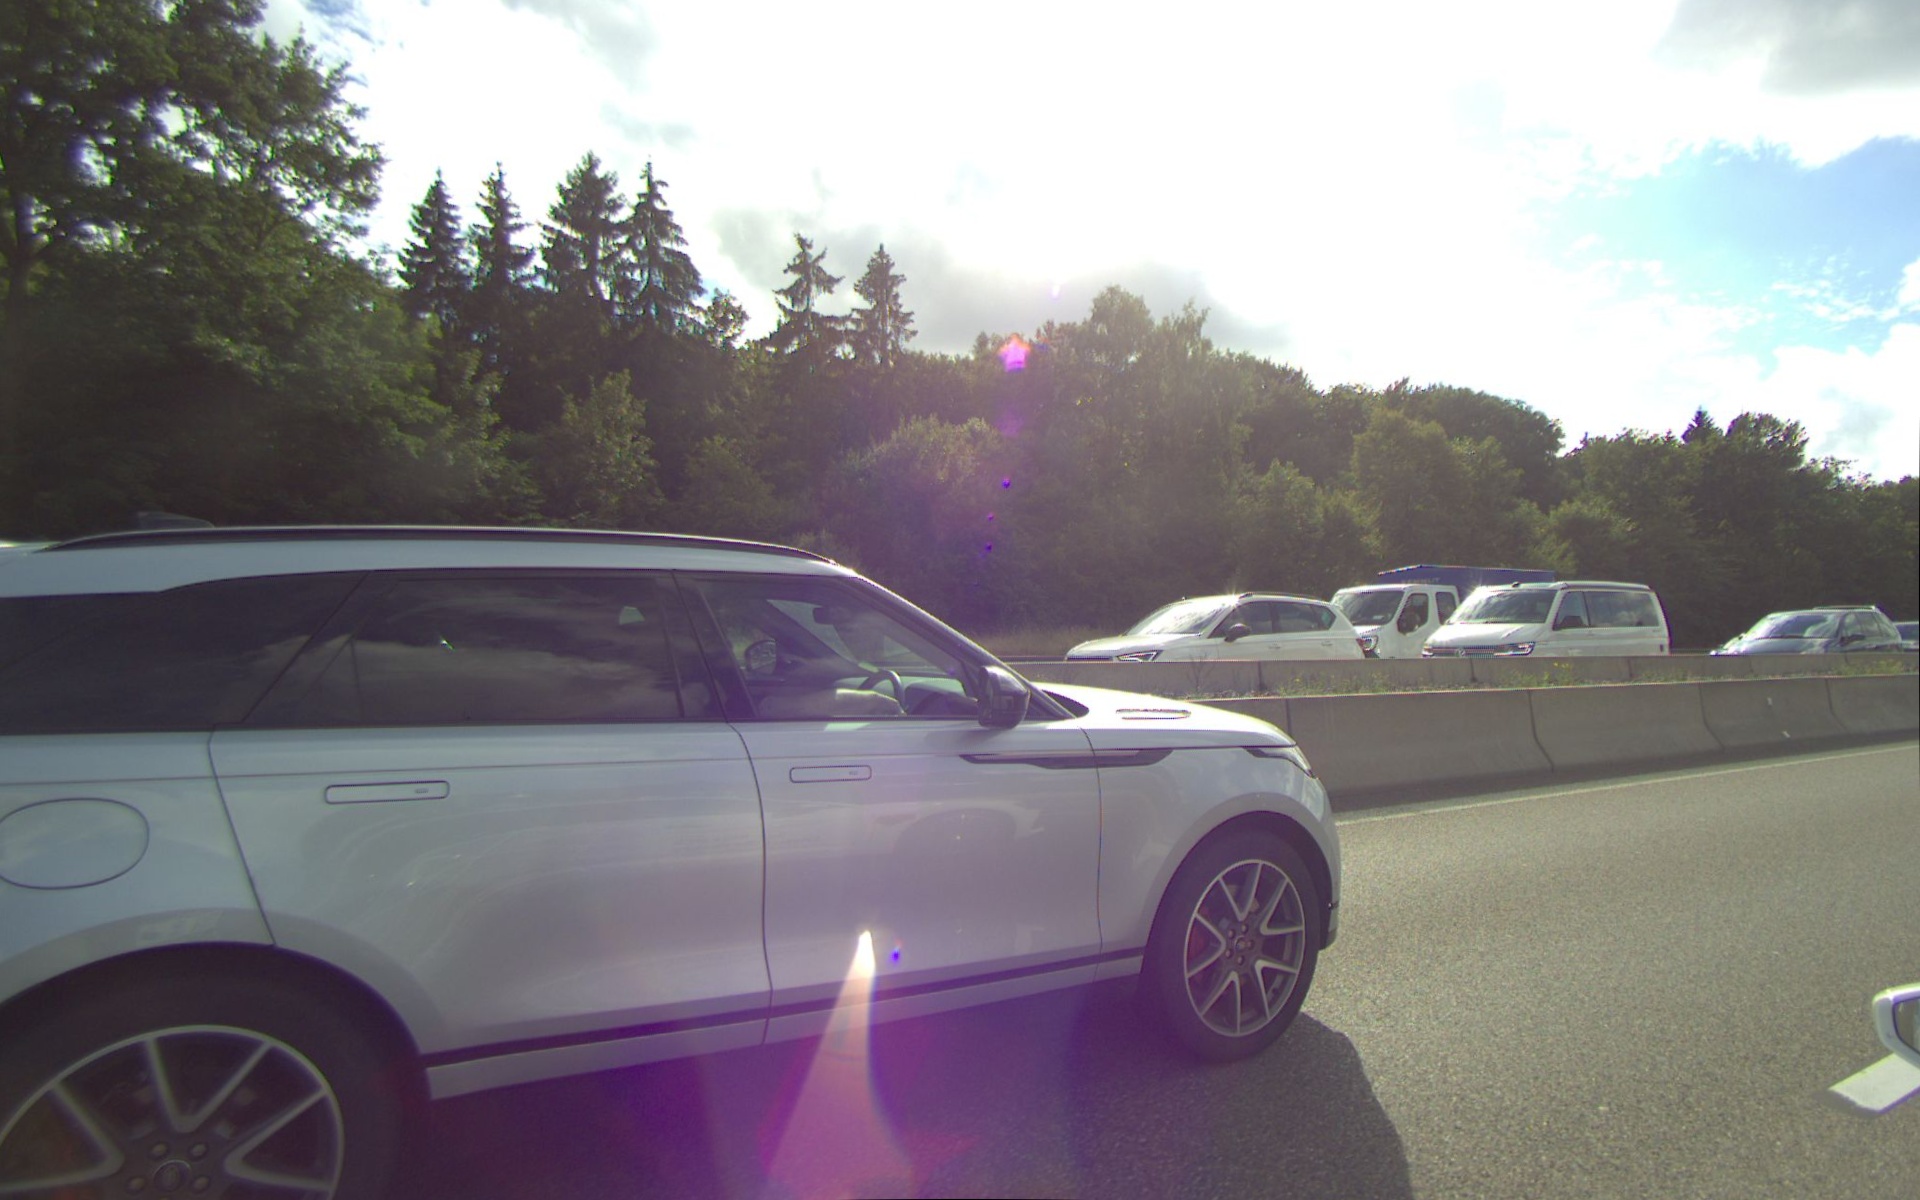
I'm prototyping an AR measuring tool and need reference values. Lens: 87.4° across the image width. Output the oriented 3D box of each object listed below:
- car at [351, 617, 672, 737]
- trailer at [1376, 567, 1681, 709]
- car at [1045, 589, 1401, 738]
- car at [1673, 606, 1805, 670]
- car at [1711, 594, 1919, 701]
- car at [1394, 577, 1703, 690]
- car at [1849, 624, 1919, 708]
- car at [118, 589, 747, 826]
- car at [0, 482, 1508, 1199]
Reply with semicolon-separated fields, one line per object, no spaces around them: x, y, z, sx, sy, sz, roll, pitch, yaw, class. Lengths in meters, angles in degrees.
-6.909;1.114;15.676;4.304;1.593;1.985;1;0;-29;car
13.234;0.858;23.065;8.445;2.823;2.267;2;0;-32;trailer
3.354;0.724;12.603;4.304;1.593;1.758;1;0;-29;car
27.976;1.366;36.036;4.796;2.040;1.985;4;-1;-29;car
18.268;1.036;21.413;4.624;2.040;1.983;4;-1;-31;car
9.763;0.526;16.555;5.264;1.593;1.984;1;1;-29;car
25.609;1.785;26.394;4.493;2.040;1.985;3;-1;-29;car
-4.241;0.761;8.682;4.304;1.593;1.985;1;0;-29;car
-0.509;0.679;3.486;5.045;1.628;1.891;2;-1;-30;car
